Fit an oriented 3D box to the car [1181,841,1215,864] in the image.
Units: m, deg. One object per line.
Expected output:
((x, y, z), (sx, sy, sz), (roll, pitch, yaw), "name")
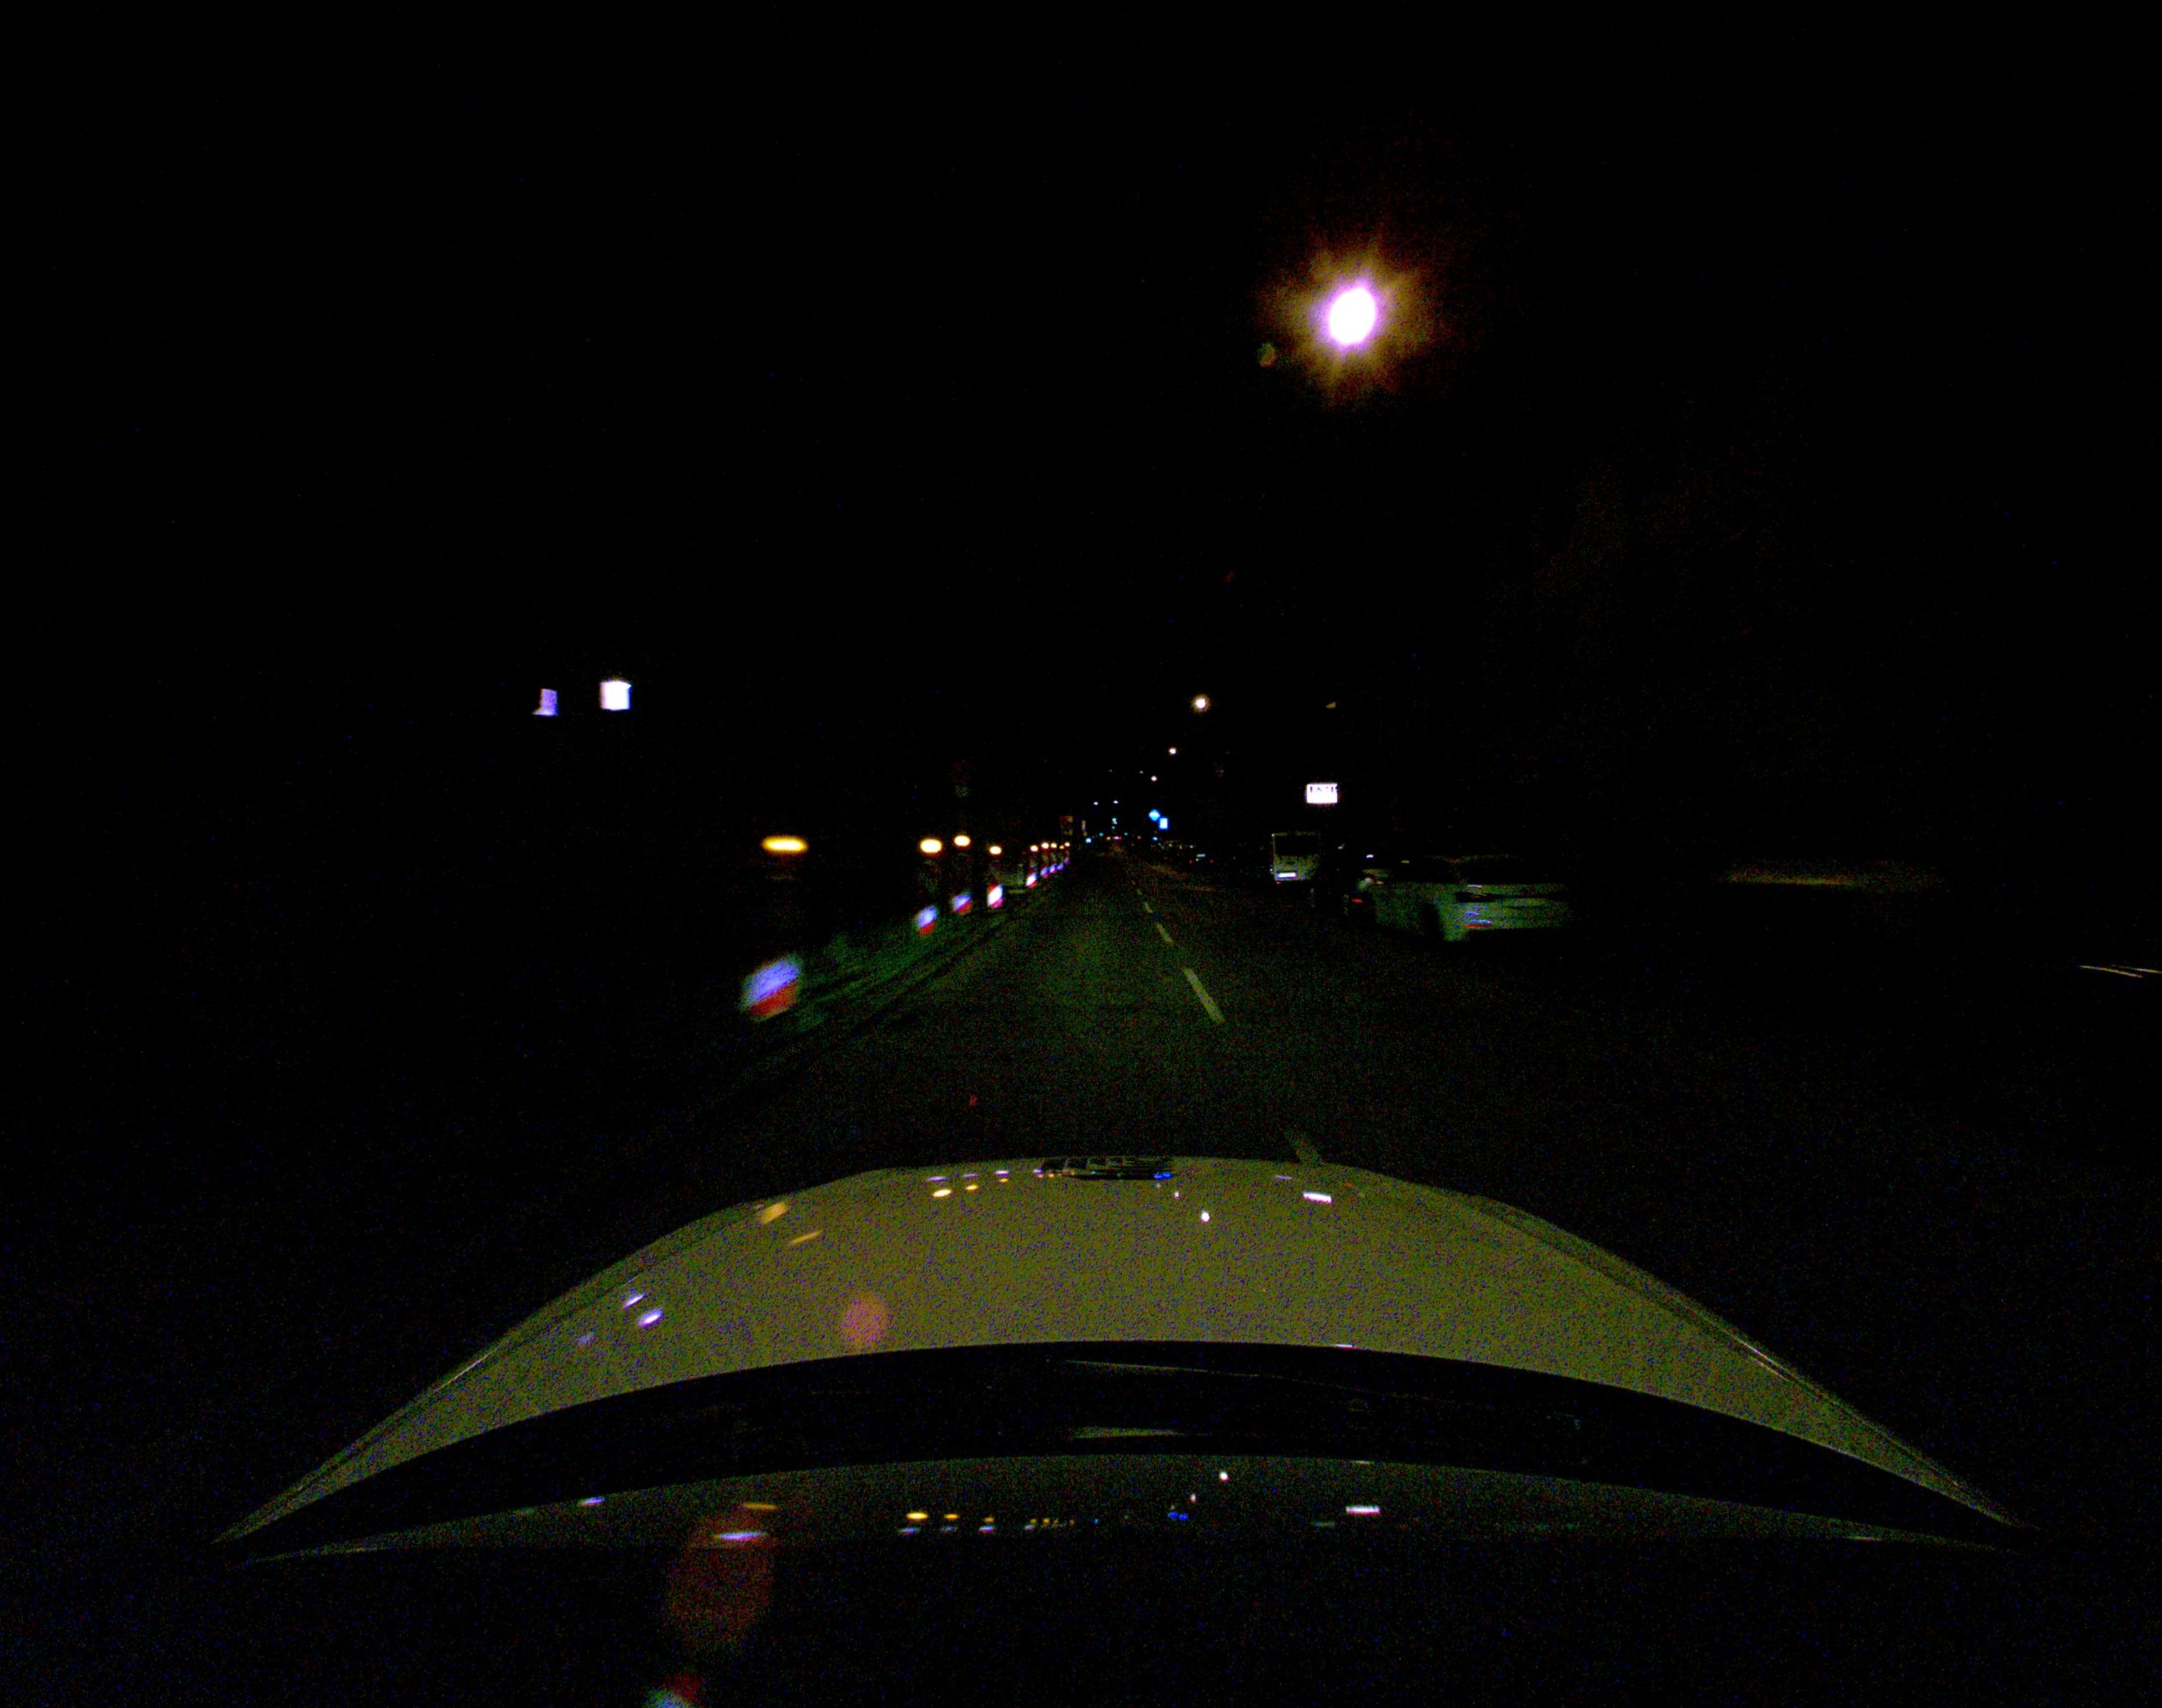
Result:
((7.407, -0.101, 51.934), (1.771, 1.426, 4.484), (0, 0, 3), "car")

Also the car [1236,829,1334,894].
((6.710, 0.212, 27.450), (2.064, 1.928, 5.373), (-2, 0, 2), "car")

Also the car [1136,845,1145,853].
((12.352, -1.024, 169.116), (1.985, 1.516, 4.004), (0, 1, 3), "car")

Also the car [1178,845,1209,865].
((8.091, 0.047, 58.830), (1.772, 1.426, 3.893), (0, 0, 1), "car")

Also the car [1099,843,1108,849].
((5.190, -1.832, 187.736), (1.986, 1.502, 4.002), (0, 0, 2), "car")

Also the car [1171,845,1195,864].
((7.956, 0.020, 63.996), (1.588, 1.467, 3.721), (0, 0, 3), "car")

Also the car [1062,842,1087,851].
((-1.108, -1.327, 144.795), (4.422, 1.449, 2.001), (0, 0, 1), "car")

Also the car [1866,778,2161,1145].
((5.797, 0.469, 2.999), (1.737, 1.683, 4.259), (-2, 0, 1), "car")

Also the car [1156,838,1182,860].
((7.976, -0.492, 74.280), (1.795, 1.875, 4.773), (-2, 1, 0), "car")

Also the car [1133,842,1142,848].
((13.380, -2.122, 192.925), (1.985, 1.520, 4.004), (0, 0, 3), "car")

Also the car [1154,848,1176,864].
((8.160, 0.137, 79.188), (1.810, 1.427, 4.190), (-2, 1, 1), "car")

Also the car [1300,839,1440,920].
((6.376, 0.497, 18.494), (1.737, 1.565, 4.212), (-2, 0, 1), "car")

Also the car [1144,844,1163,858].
((8.455, -0.382, 94.918), (1.769, 1.544, 4.545), (0, 0, 0), "car")

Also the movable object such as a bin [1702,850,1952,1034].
((6.490, 0.702, 7.192), (0.934, 1.432, 1.338), (-2, 0, -1), "movable object such as a bin")

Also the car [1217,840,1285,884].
((6.842, 0.301, 33.196), (1.813, 1.599, 4.220), (-3, 0, 0), "car")

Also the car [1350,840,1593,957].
((6.063, 0.591, 13.403), (1.737, 1.508, 4.835), (-2, 0, 1), "car")

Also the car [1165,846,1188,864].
((8.014, 0.035, 68.626), (1.588, 1.467, 3.894), (0, 0, 3), "car")
